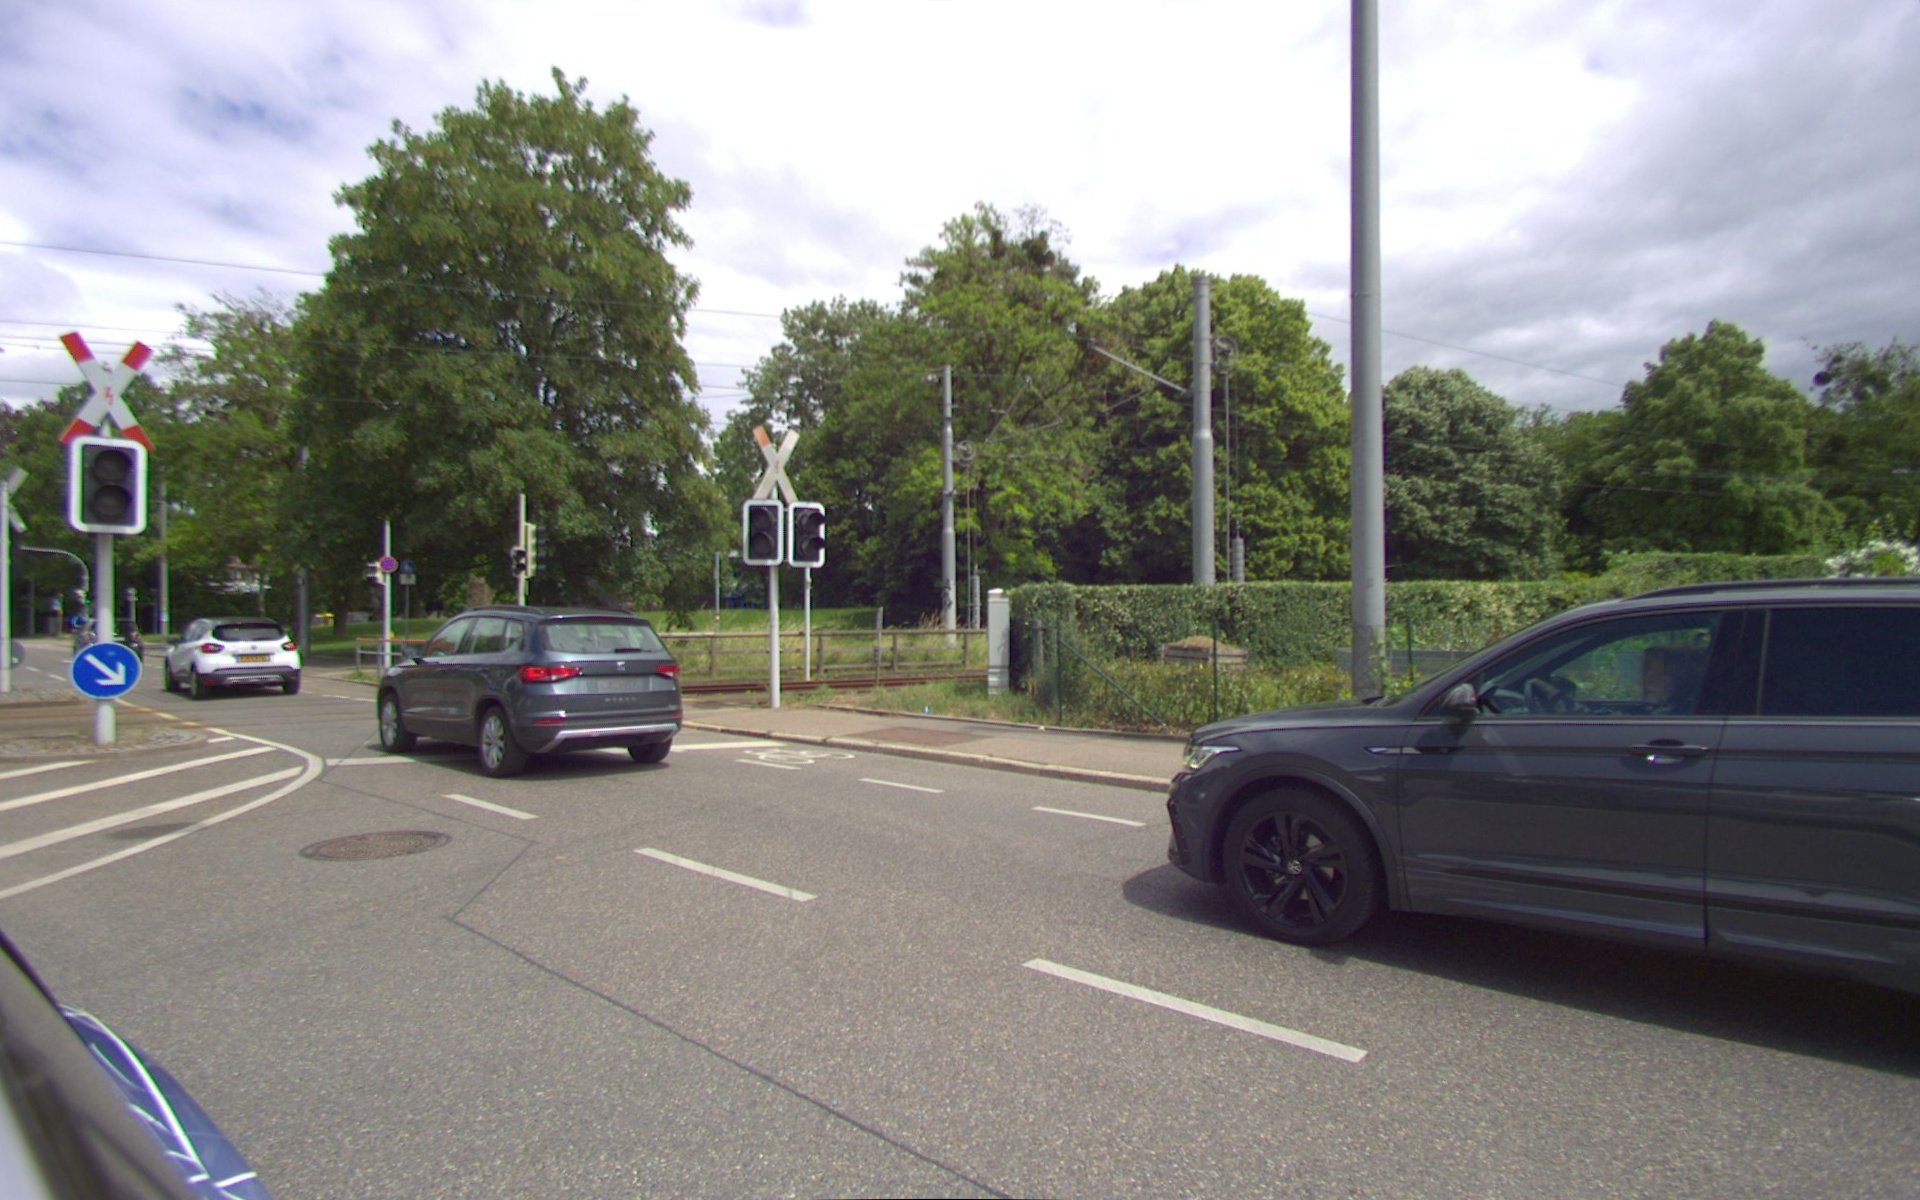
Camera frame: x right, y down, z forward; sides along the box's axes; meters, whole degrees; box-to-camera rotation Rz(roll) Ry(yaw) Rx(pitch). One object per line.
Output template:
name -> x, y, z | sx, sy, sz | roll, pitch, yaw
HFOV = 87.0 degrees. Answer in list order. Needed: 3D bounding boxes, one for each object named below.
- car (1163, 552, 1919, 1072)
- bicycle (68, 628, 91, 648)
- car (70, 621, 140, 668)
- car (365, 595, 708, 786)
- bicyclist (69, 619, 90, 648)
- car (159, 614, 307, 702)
car -> 3.131, 0.703, 4.203 | 4.166, 1.615, 1.757 | -1, -3, 40
bicycle -> -51.952, 2.257, 59.710 | 1.799, 1.116, 0.803 | -1, 0, 42
car -> -29.140, 1.500, 34.472 | 2.789, 1.521, 1.557 | -2, -2, 44
car -> -4.555, 0.833, 10.608 | 4.038, 1.615, 1.756 | -1, -3, 43
bicyclist -> -51.908, 1.967, 59.672 | 0.772, 1.620, 0.796 | -1, 0, 41
car -> -14.980, 1.113, 20.776 | 4.039, 1.615, 1.755 | -1, -1, 43
